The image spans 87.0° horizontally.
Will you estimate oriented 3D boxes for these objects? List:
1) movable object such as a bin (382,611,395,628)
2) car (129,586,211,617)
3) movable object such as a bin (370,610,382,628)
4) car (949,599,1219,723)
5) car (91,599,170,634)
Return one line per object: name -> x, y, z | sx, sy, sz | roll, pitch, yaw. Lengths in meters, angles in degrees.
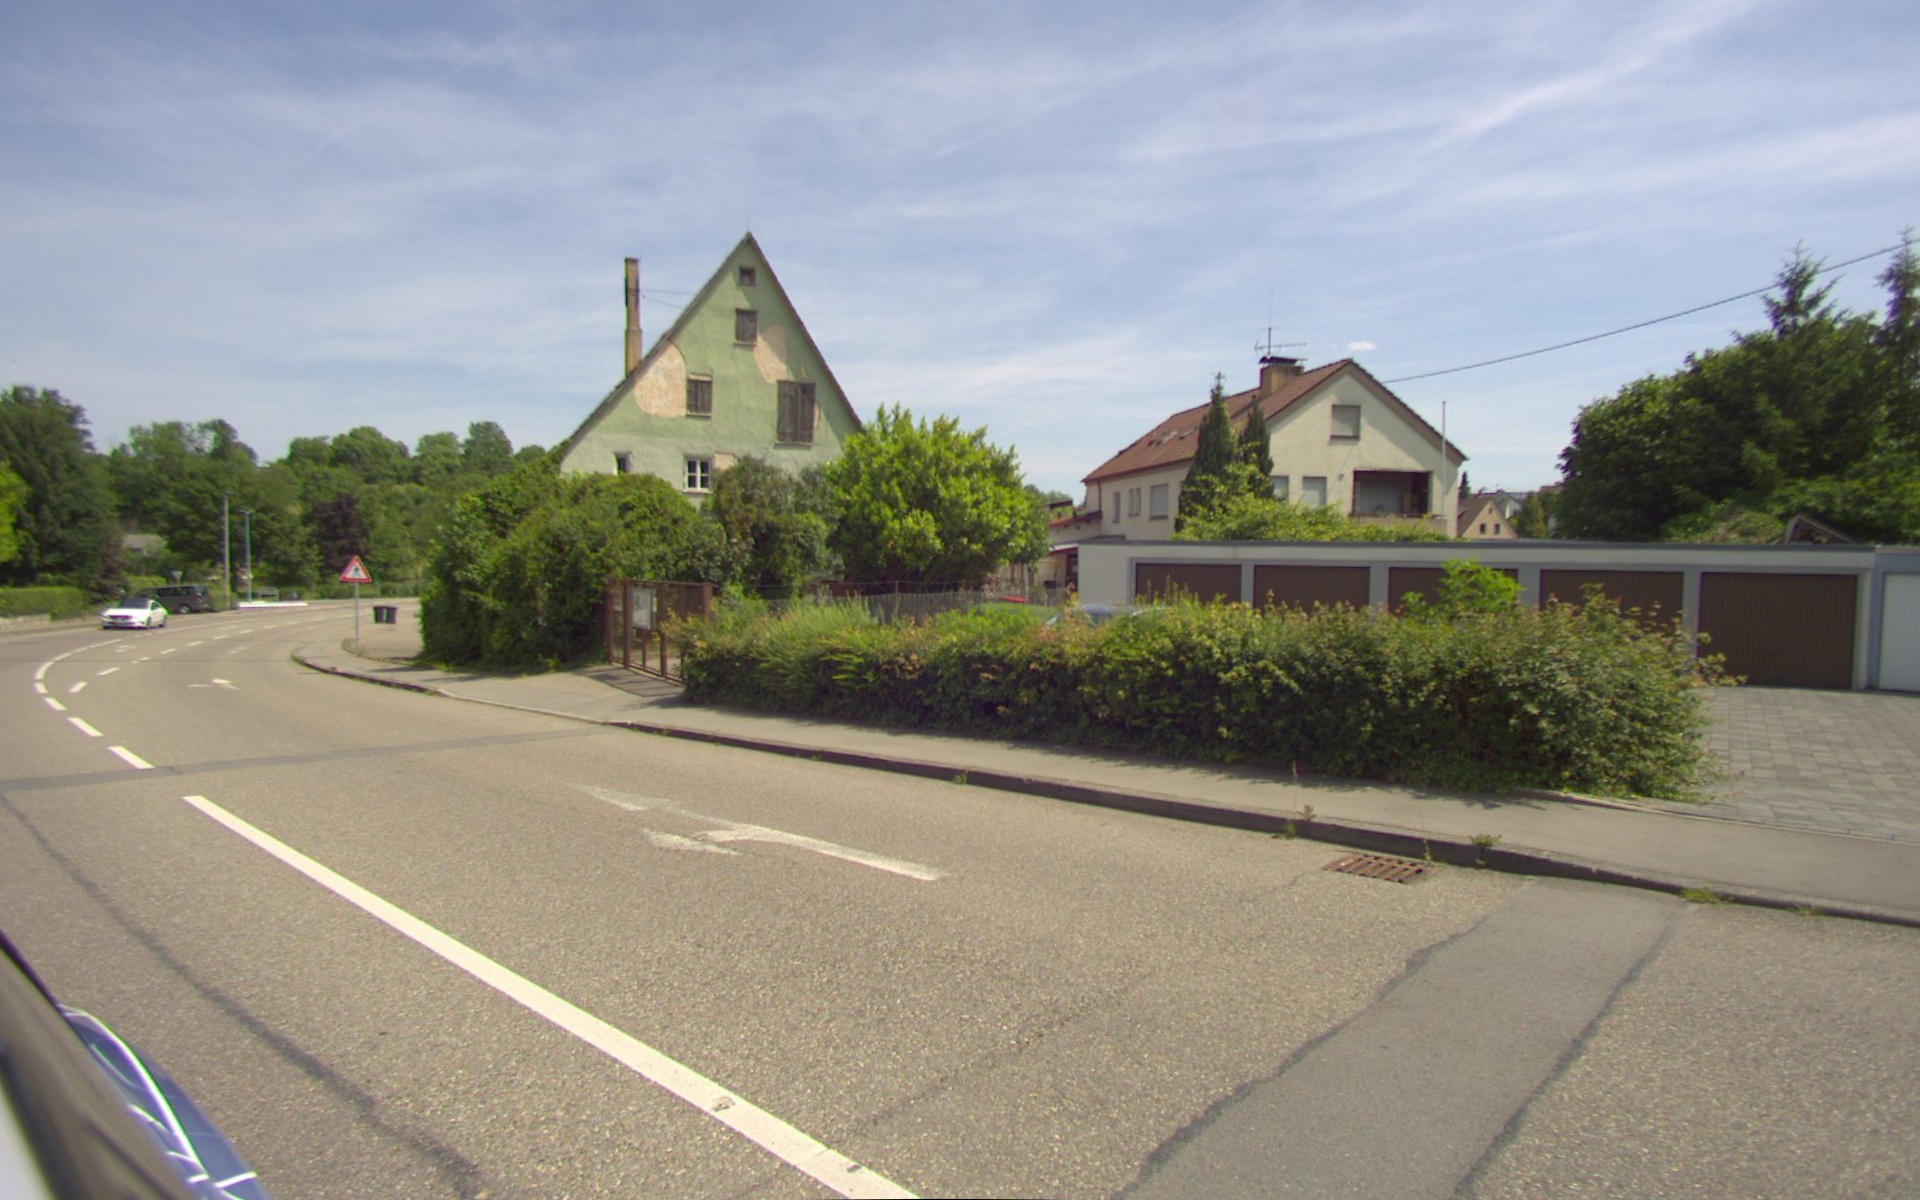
movable object such as a bin -> -35.099, 1.183, 62.143 | 0.527, 1.058, 0.542 | -1, 0, -43
car -> -52.490, 0.057, 67.318 | 3.844, 1.964, 1.962 | -1, 1, -17
movable object such as a bin -> -36.407, 1.157, 63.119 | 0.545, 1.090, 0.542 | -1, 0, -43
car -> 1.852, 0.722, 14.092 | 1.997, 1.397, 3.949 | 0, 1, 38
car -> -40.763, 0.793, 49.837 | 1.796, 1.564, 4.013 | 2, -1, -21
